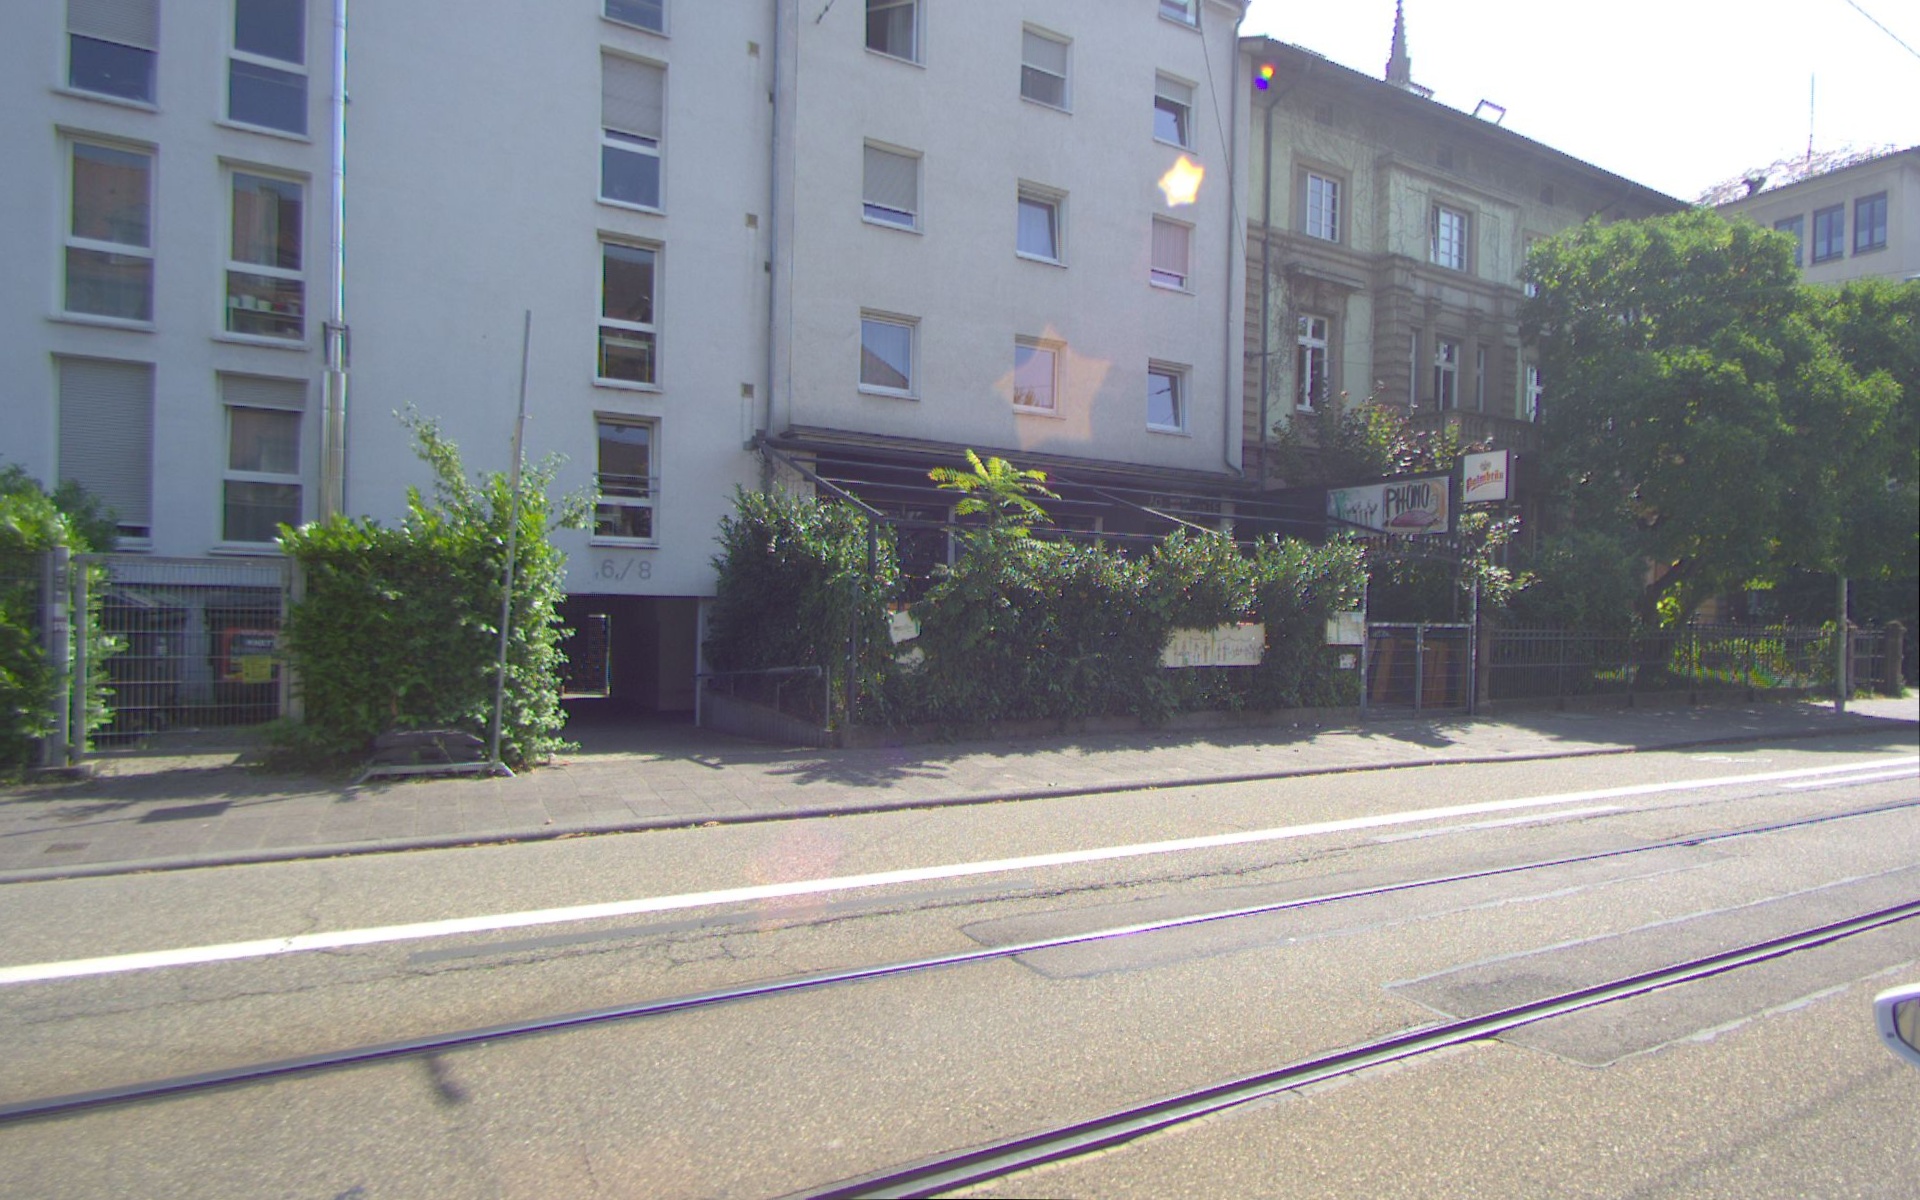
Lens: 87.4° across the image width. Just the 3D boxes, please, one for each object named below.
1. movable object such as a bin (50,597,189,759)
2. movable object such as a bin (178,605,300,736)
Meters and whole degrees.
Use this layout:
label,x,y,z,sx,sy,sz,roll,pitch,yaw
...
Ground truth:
label,x,y,z,sx,sy,sz,roll,pitch,yaw
movable object such as a bin,-8.076,0.709,9.711,0.792,1.442,1.225,1,-1,-30
movable object such as a bin,-7.885,0.758,11.016,1.023,1.377,0.385,1,-1,-30
